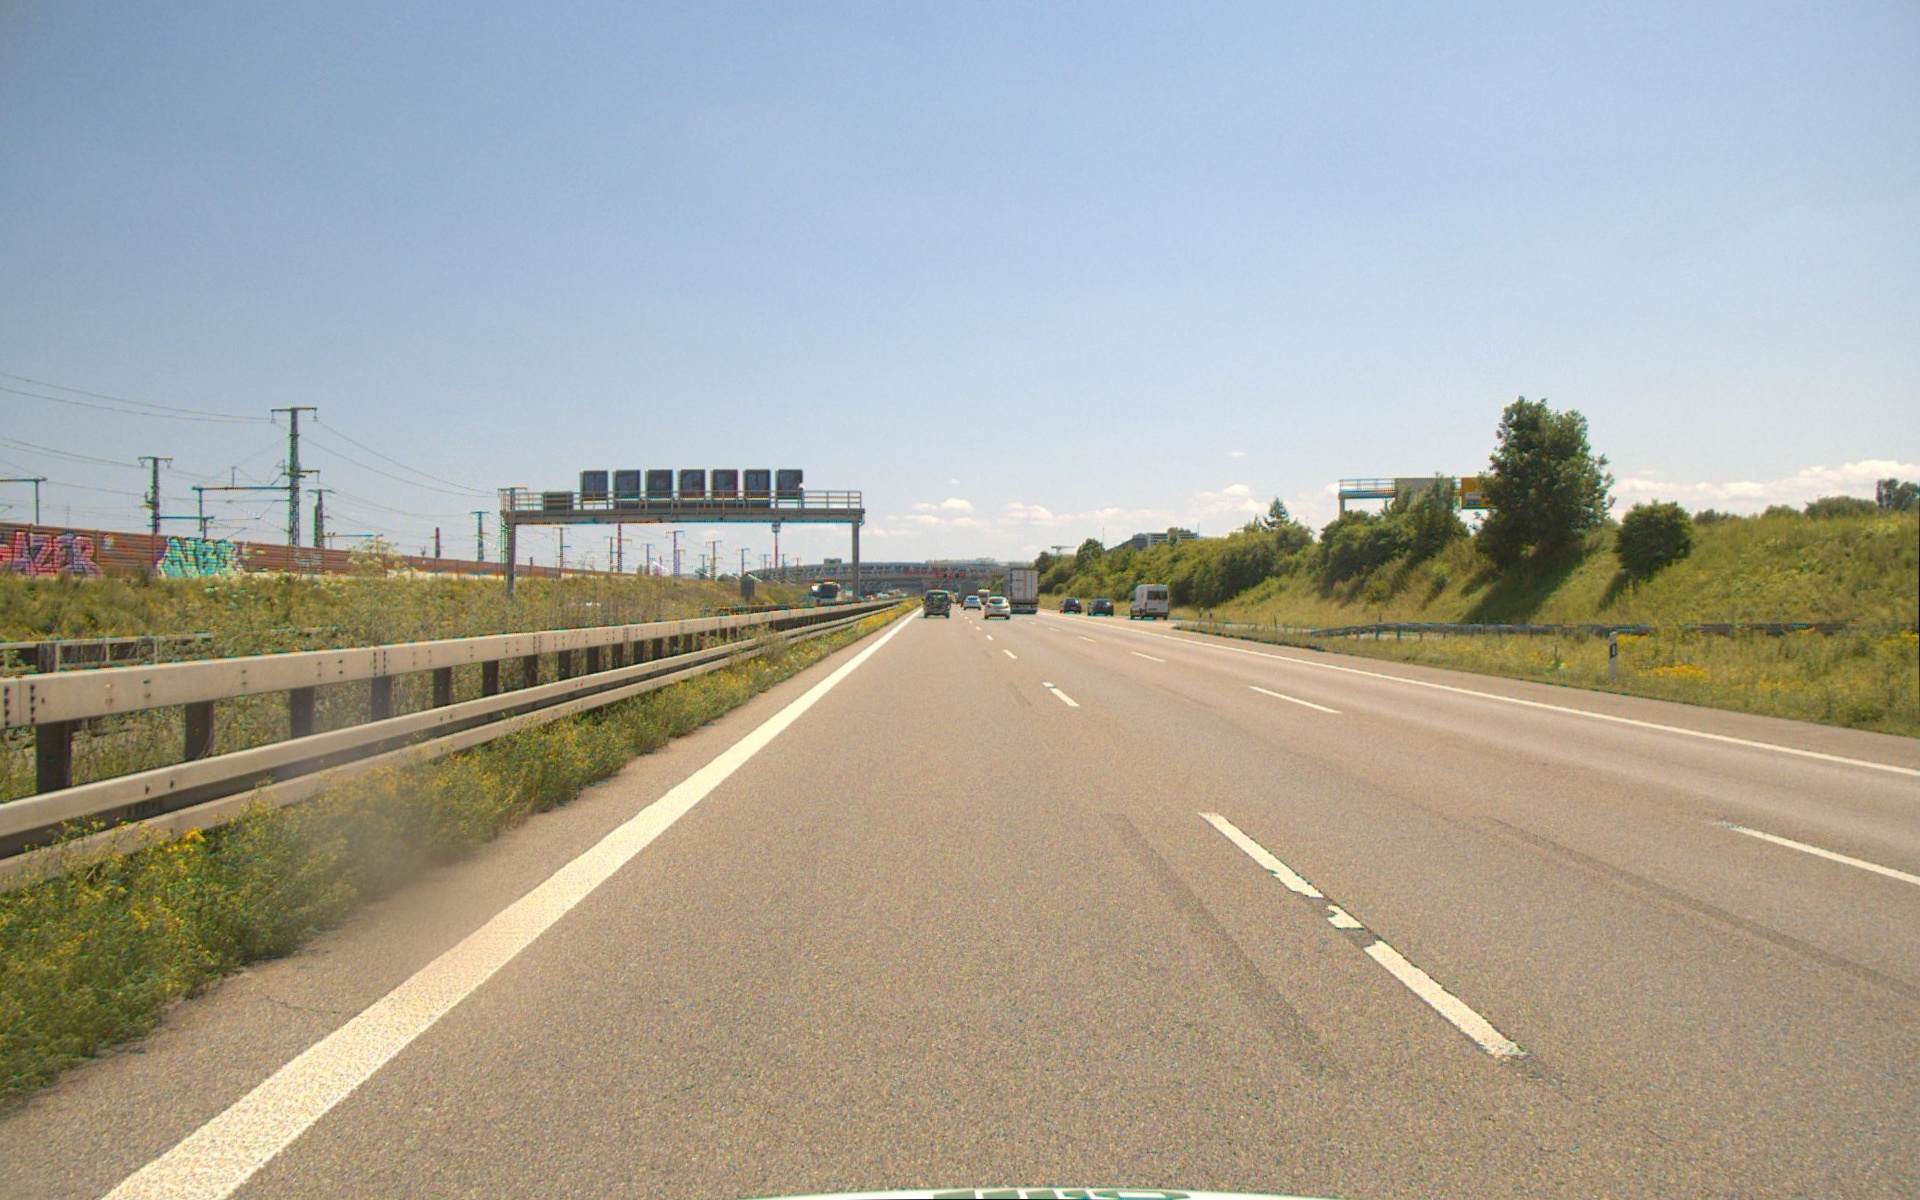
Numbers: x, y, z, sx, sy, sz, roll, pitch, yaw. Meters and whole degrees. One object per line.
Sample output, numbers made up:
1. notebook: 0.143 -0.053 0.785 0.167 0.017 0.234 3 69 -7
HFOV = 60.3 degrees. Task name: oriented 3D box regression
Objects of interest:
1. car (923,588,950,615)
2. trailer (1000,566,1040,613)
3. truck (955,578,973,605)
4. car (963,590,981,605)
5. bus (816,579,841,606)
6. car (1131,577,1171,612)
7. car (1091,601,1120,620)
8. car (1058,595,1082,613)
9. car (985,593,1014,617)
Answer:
1. car: -1.589 0.136 112.175 1.842 1.806 3.999 0 -1 -1
2. trailer: 5.386 -0.914 149.862 3.112 4.130 9.438 -1 0 -1
3. truck: 0.489 -1.102 220.641 2.307 3.476 6.056 0 0 -1
4. car: 1.301 -0.248 178.386 1.842 1.553 4.000 1 -1 0
5. bus: -19.188 -1.099 241.437 2.799 3.709 10.939 2 0 -1
6. car: 14.365 -0.403 124.399 2.228 2.572 5.397 1 0 -2
7. car: 12.560 0.898 143.135 1.954 1.534 3.997 2 -1 -3
8. car: 10.884 0.412 163.523 1.953 1.624 3.998 2 -1 -1
9. car: 2.684 0.333 111.287 1.841 1.553 4.001 1 -1 2
